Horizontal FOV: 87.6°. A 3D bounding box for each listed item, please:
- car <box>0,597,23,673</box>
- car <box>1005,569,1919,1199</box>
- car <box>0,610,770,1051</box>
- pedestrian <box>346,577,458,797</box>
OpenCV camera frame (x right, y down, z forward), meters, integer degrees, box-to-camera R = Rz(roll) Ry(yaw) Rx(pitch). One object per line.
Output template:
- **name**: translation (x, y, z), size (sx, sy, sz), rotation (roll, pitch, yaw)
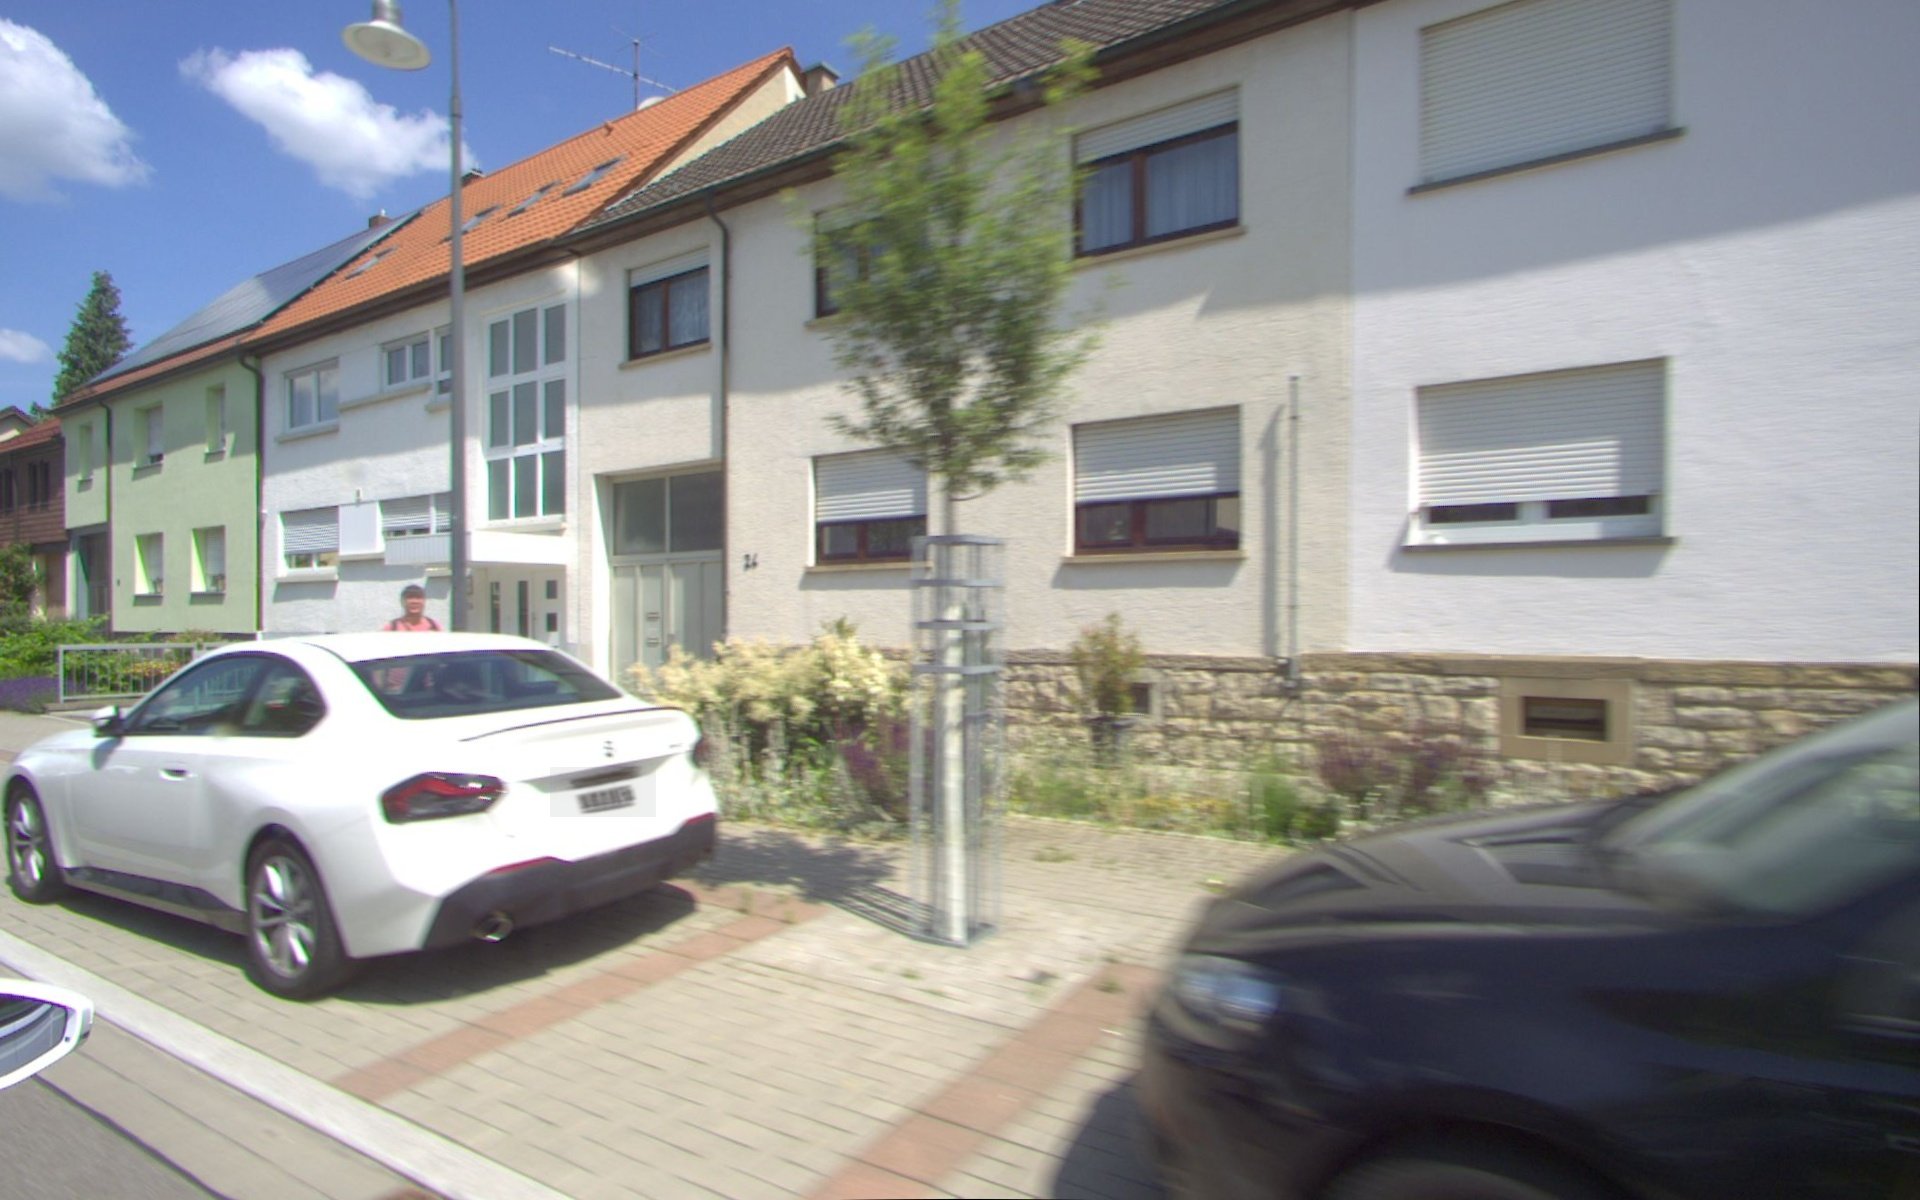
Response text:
- **car**: translation (-26.198, 0.856, 24.362), size (1.991, 1.917, 4.613), rotation (-1, -2, 31)
- **car**: translation (2.216, 0.739, 1.684), size (3.950, 1.549, 1.763), rotation (-1, -1, 33)
- **car**: translation (-3.308, 0.817, 5.301), size (4.453, 1.484, 1.830), rotation (-1, -1, 31)
- **pedestrian**: translation (-4.728, 0.708, 8.488), size (0.663, 1.772, 0.556), rotation (-1, 0, 33)
